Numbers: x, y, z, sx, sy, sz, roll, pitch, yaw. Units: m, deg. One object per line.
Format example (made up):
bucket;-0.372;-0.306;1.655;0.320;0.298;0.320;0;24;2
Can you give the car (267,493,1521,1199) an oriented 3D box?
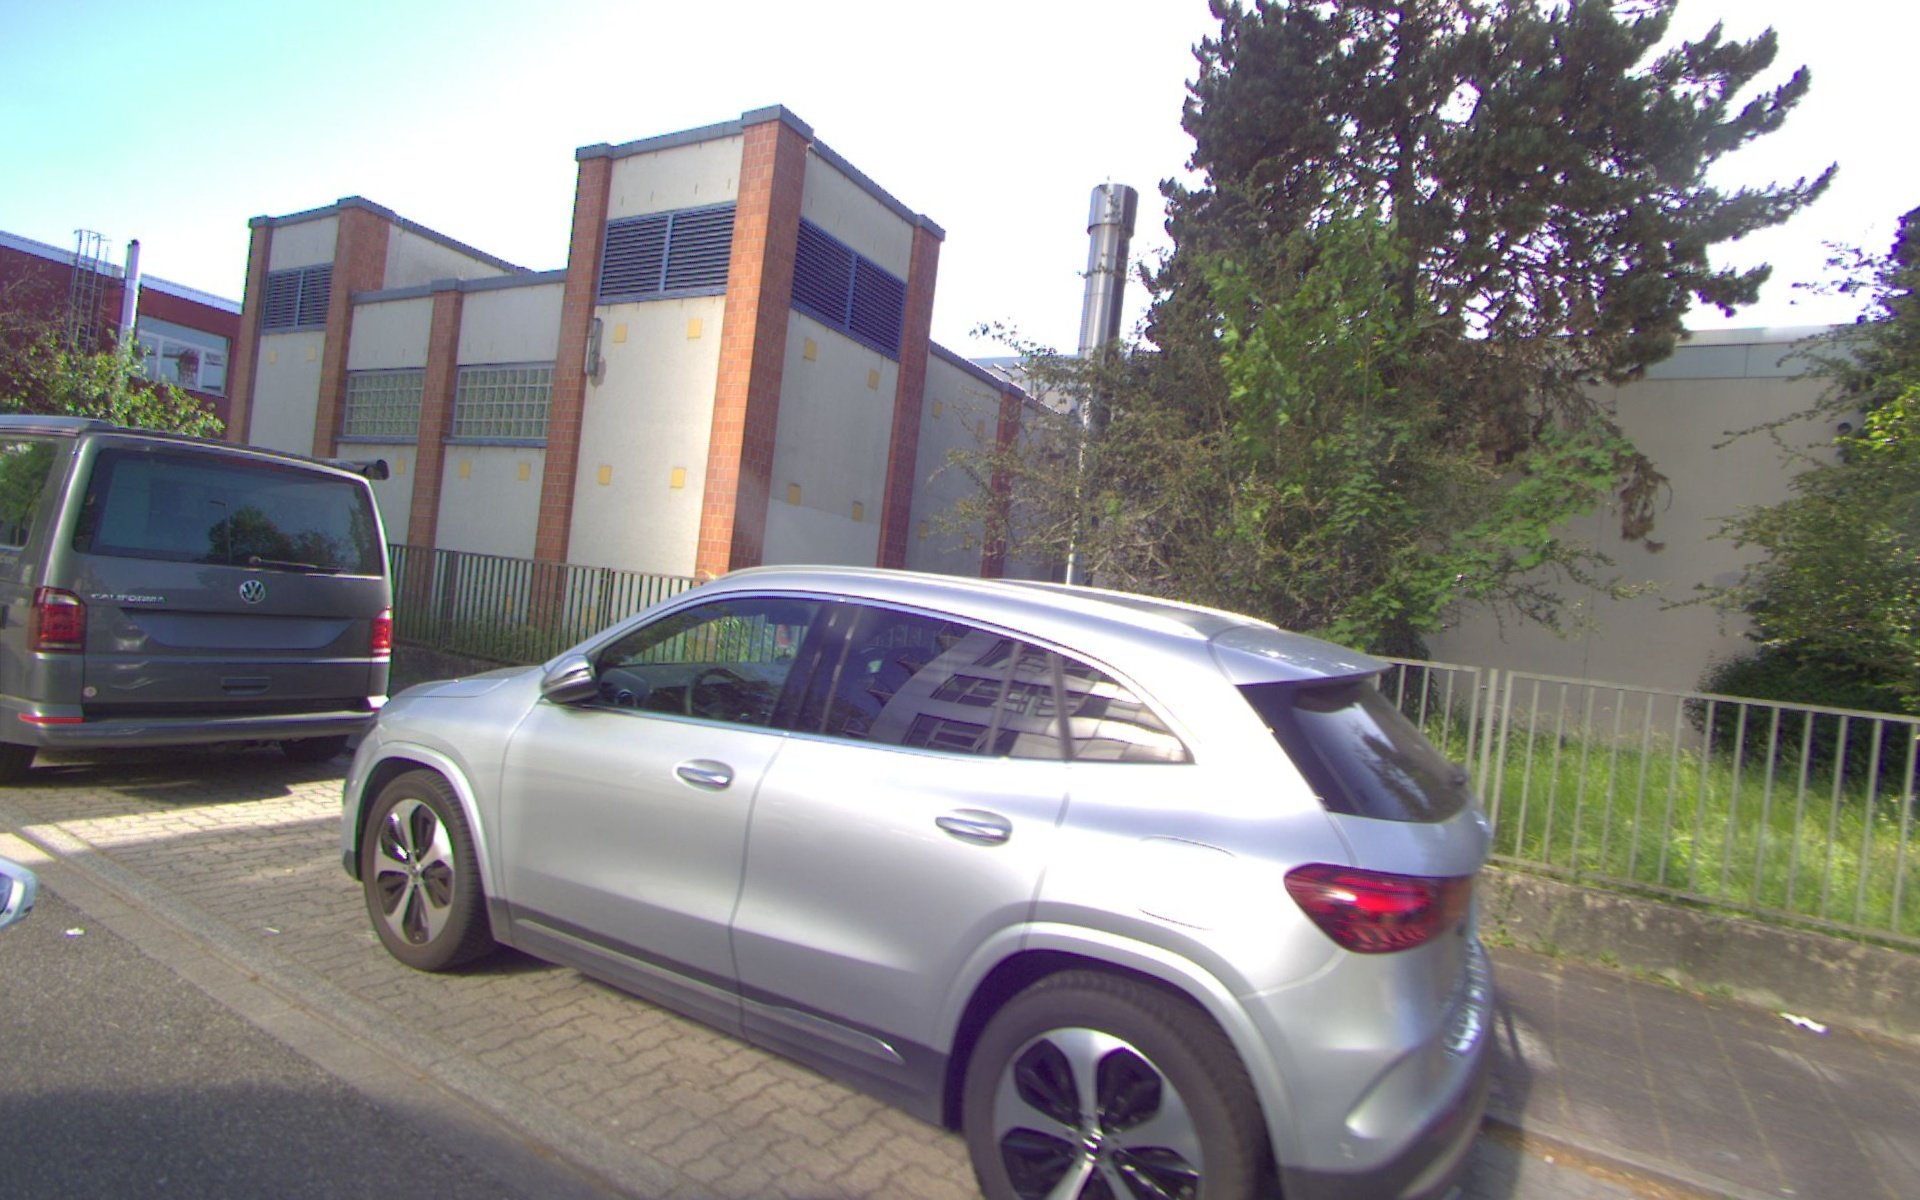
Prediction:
car;-0.445;0.630;3.712;4.222;1.650;1.827;6;0;31

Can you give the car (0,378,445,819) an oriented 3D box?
car;-5.840;-0.147;6.717;4.745;2.047;1.945;6;0;31
